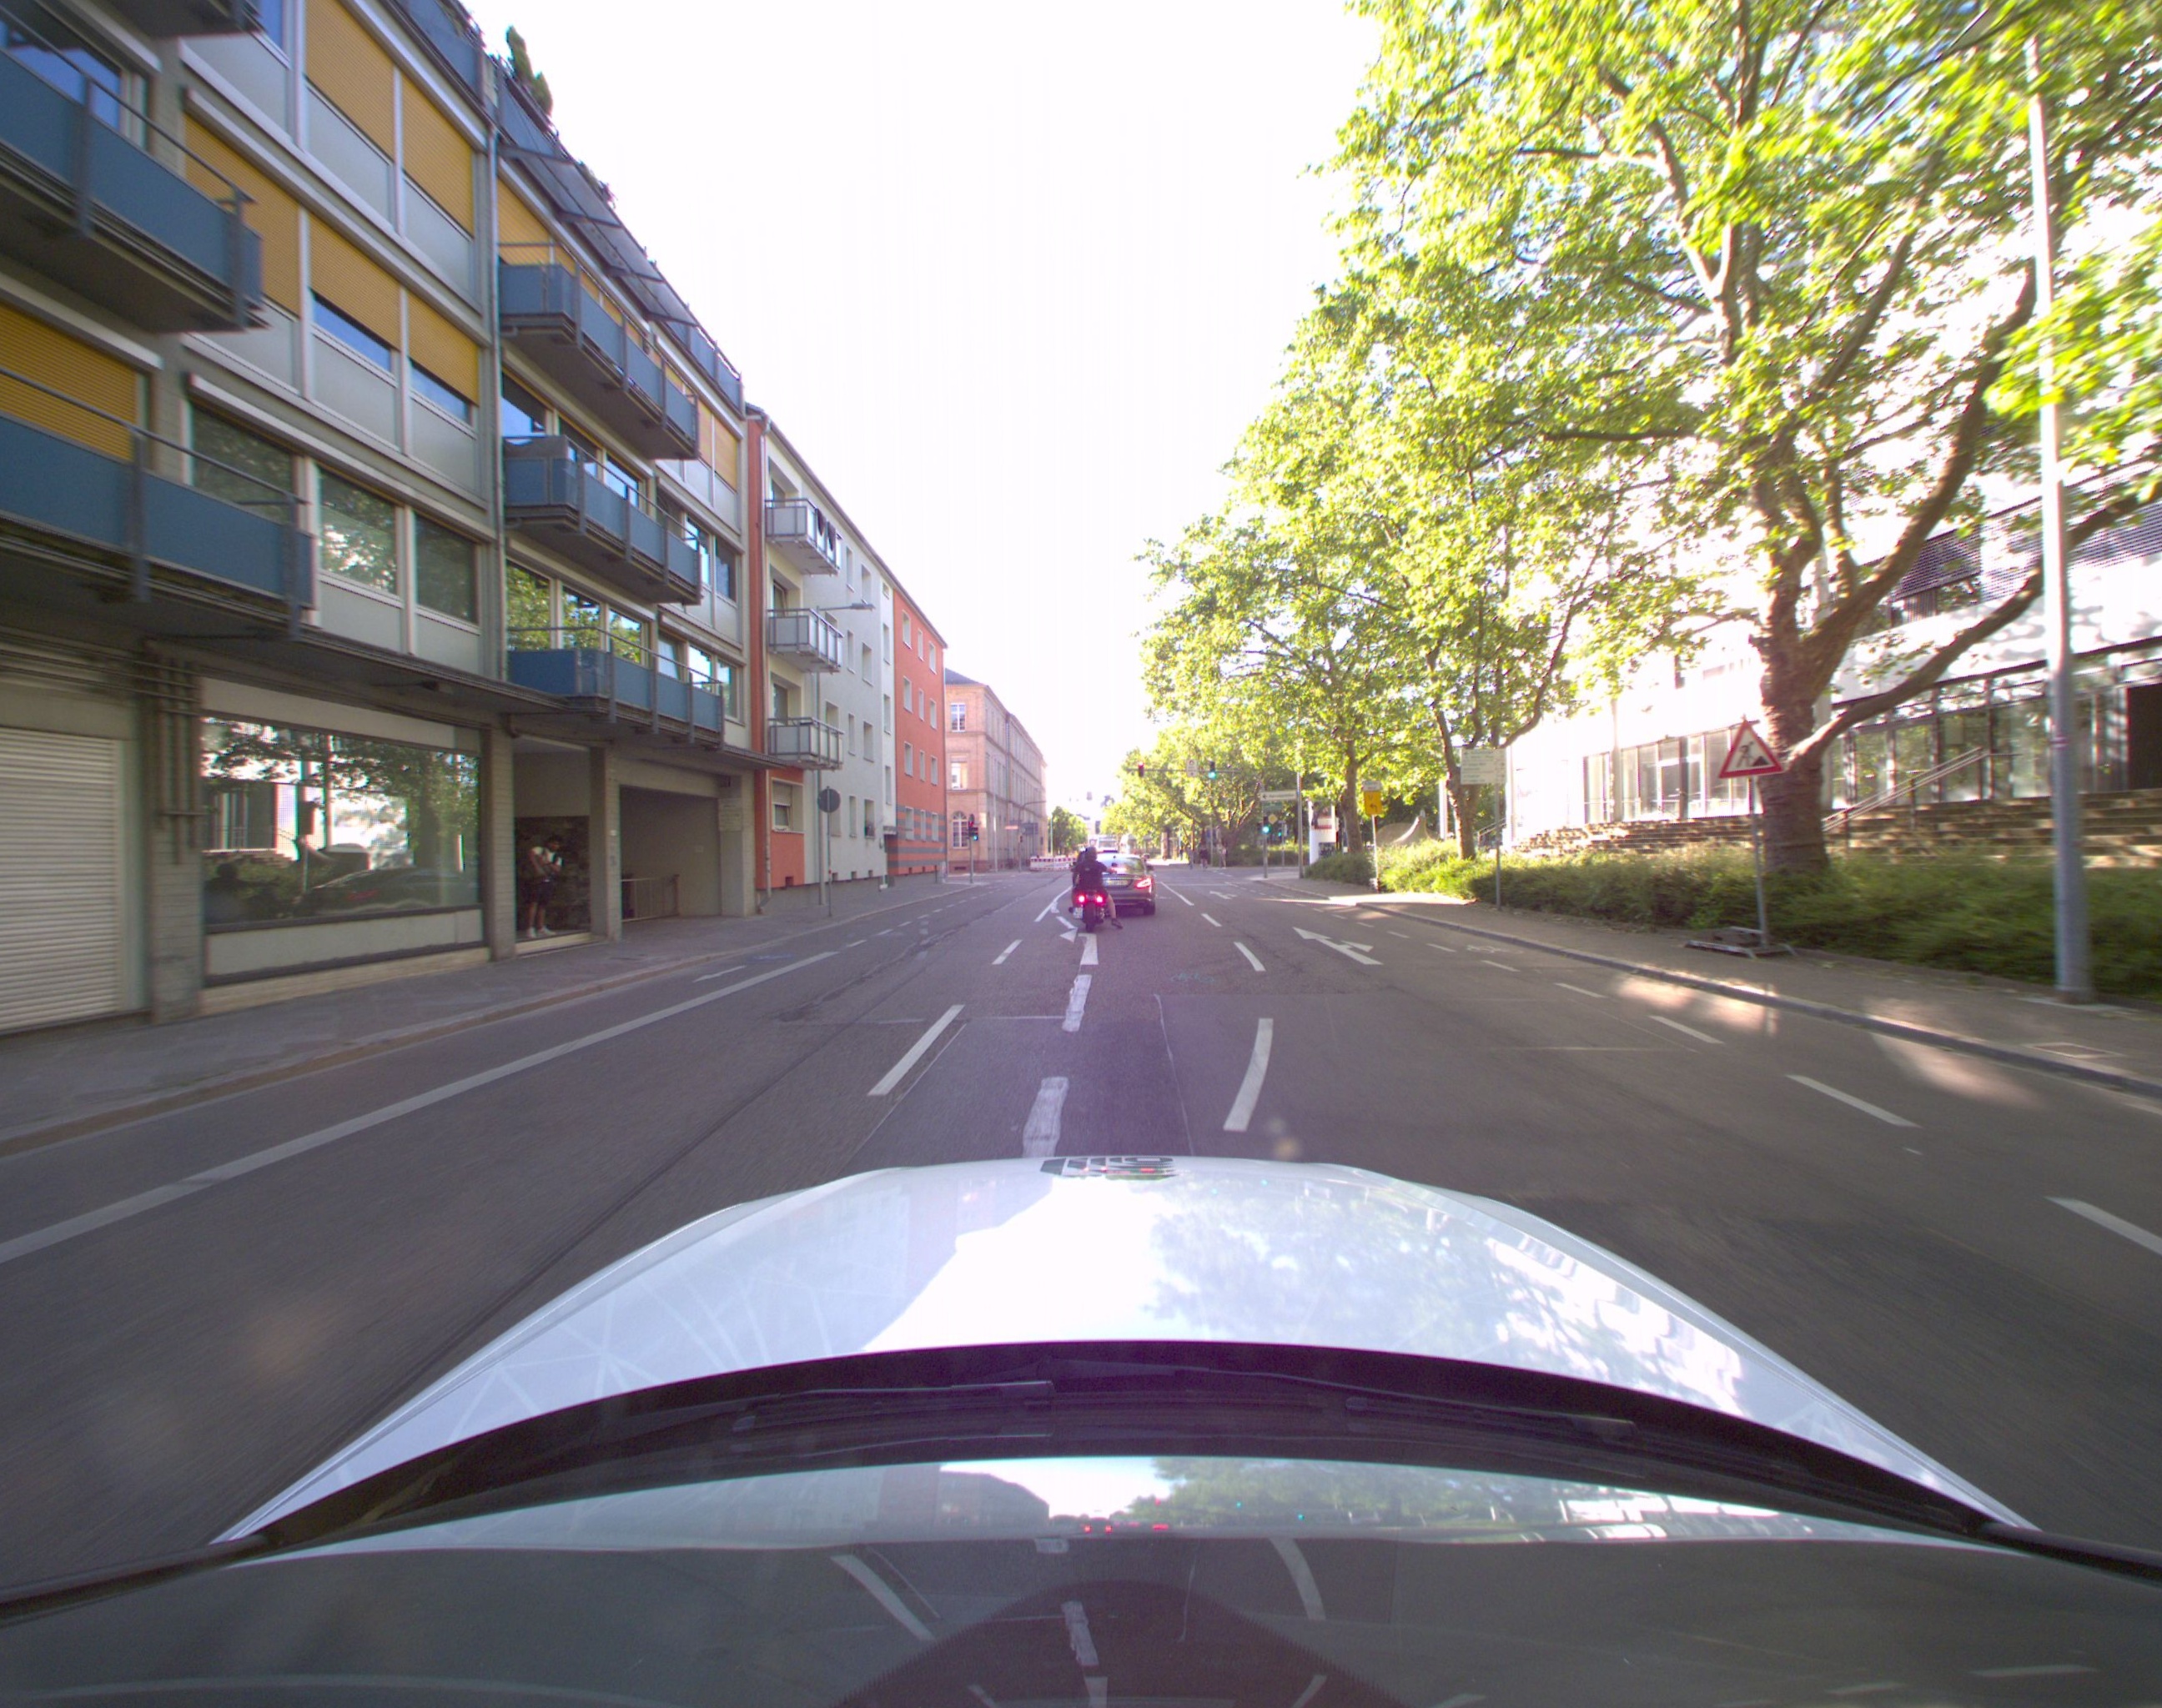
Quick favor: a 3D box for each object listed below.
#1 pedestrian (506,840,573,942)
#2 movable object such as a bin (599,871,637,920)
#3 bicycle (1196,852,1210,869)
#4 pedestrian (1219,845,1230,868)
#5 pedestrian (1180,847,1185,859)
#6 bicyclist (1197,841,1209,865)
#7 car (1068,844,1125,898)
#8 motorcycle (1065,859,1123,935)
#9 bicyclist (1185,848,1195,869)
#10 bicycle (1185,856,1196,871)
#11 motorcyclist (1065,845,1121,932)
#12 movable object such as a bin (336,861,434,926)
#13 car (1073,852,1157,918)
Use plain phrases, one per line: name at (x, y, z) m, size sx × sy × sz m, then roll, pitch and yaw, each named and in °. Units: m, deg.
pedestrian at (-8.623, 0.569, 12.987) m, size 0.511 × 1.579 × 0.756 m, roll -1°, pitch 0°, yaw 2°
movable object such as a bin at (-10.873, 0.964, 19.131) m, size 0.487 × 1.088 × 0.654 m, roll -1°, pitch 0°, yaw 2°
bicycle at (7.943, 0.410, 53.055) m, size 0.653 × 1.070 × 1.928 m, roll 0°, pitch 0°, yaw 2°
pedestrian at (11.195, 0.223, 63.538) m, size 0.574 × 1.774 × 0.619 m, roll 1°, pitch -1°, yaw -32°
pedestrian at (12.533, -0.120, 100.239) m, size 0.590 × 1.578 × 0.527 m, roll 0°, pitch 0°, yaw 2°
bicyclist at (7.941, -0.045, 53.108) m, size 0.653 × 1.530 × 0.852 m, roll 0°, pitch 0°, yaw 2°
car at (0.444, 0.535, 27.267) m, size 1.626 × 1.650 × 3.846 m, roll 0°, pitch 0°, yaw -3°
motorcycle at (0.268, 0.770, 15.801) m, size 1.008 × 1.306 × 2.674 m, roll -1°, pitch 0°, yaw 2°
bicyclist at (8.305, 0.331, 61.813) m, size 0.653 × 1.530 × 0.906 m, roll 0°, pitch 0°, yaw 2°
bicycle at (8.305, 0.680, 61.798) m, size 0.653 × 1.111 × 2.186 m, roll 0°, pitch 0°, yaw 2°
motorcyclist at (0.252, 0.642, 15.882) m, size 1.008 × 1.602 × 1.406 m, roll -1°, pitch 0°, yaw 1°
movable object such as a bin at (-16.032, 0.894, 18.795) m, size 1.313 × 1.414 × 1.080 m, roll -1°, pitch 0°, yaw 1°
car at (0.795, 0.673, 19.642) m, size 1.821 × 1.420 × 3.816 m, roll -1°, pitch 0°, yaw 2°
